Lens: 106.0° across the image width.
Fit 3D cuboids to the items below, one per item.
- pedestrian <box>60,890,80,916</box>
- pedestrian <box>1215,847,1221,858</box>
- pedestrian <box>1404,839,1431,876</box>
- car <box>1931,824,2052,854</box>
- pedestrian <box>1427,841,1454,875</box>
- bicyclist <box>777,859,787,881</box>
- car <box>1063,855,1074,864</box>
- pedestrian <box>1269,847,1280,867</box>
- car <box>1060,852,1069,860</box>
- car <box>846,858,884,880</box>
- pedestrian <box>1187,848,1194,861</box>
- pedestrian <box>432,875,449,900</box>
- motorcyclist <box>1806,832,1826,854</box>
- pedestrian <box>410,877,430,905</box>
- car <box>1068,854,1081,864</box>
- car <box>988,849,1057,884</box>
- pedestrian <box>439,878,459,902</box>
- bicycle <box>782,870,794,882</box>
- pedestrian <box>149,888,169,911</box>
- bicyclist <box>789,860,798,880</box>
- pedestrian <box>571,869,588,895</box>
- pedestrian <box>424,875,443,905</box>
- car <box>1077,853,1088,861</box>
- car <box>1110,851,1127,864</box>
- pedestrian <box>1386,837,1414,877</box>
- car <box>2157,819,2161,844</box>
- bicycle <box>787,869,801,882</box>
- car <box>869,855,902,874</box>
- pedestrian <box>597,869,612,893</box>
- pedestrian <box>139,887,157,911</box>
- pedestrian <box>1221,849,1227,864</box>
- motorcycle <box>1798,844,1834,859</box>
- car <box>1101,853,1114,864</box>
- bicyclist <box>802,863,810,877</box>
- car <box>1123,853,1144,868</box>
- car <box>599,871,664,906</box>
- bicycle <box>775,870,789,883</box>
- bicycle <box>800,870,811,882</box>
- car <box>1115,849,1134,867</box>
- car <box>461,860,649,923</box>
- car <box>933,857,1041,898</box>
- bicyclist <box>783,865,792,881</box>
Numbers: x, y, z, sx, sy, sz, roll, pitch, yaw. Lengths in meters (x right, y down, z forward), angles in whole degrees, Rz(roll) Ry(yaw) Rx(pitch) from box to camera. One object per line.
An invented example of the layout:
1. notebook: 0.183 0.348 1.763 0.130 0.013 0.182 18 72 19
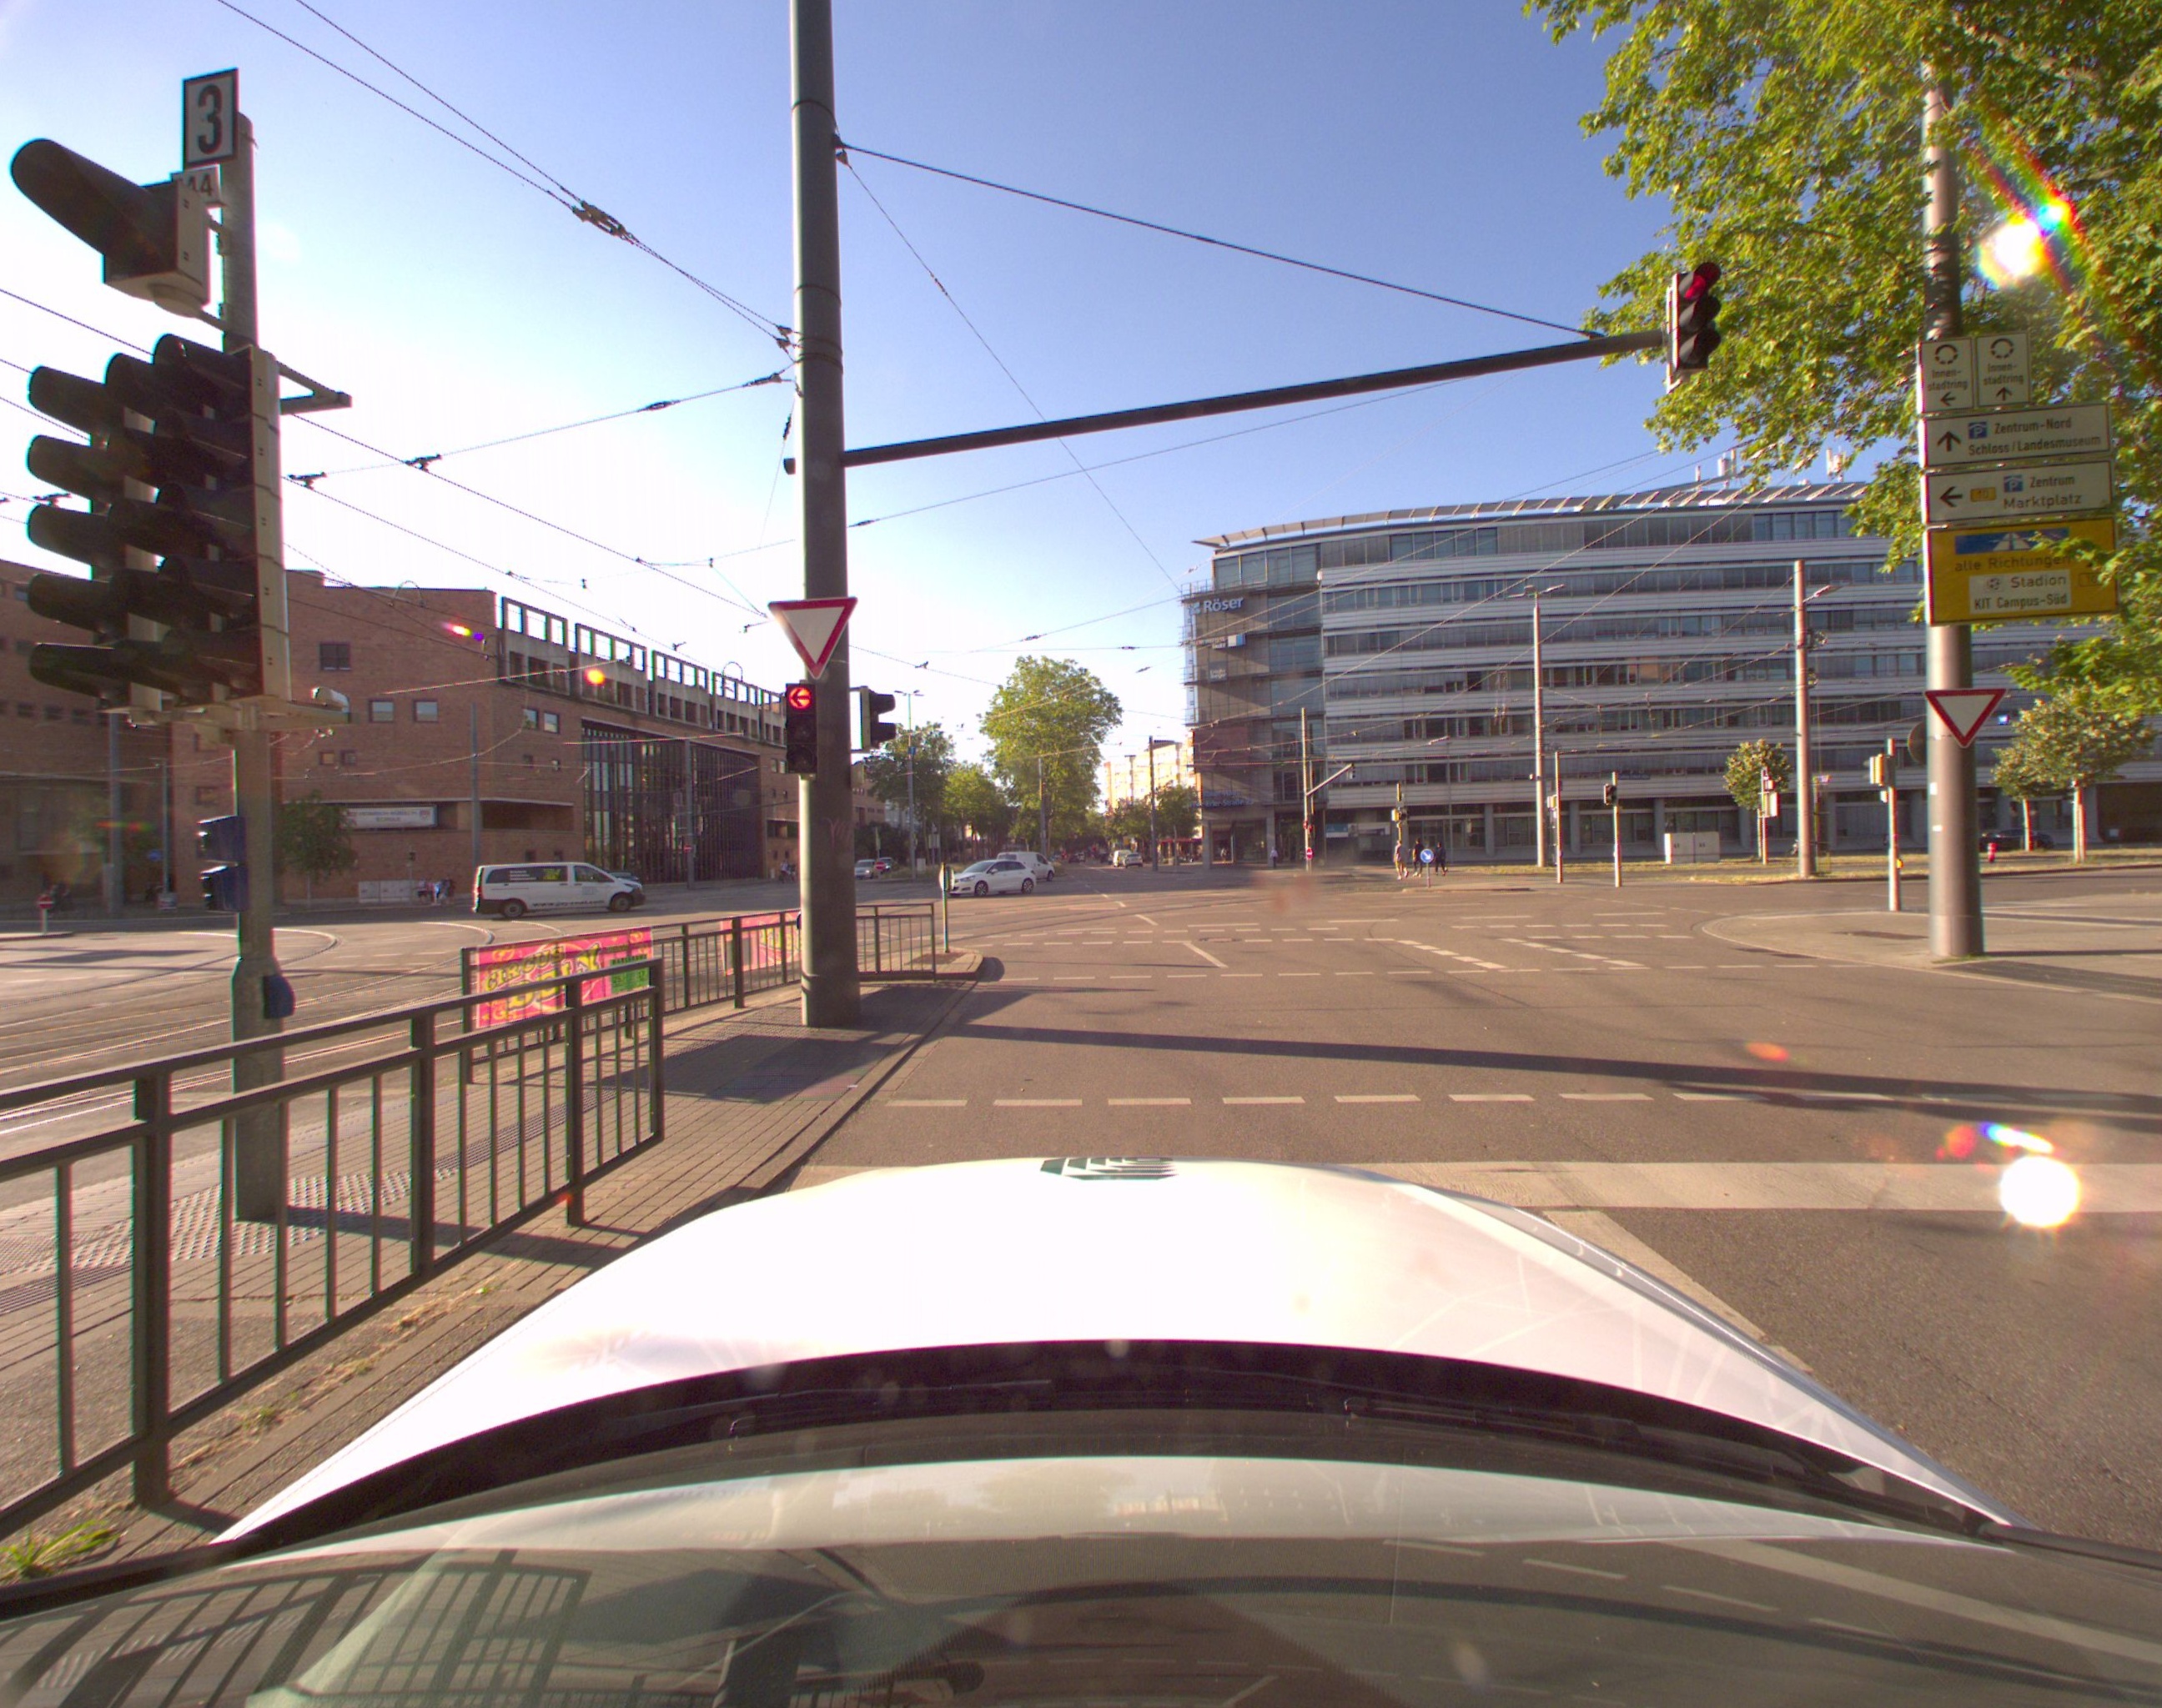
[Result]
1. pedestrian: -58.772 2.837 47.326 0.508 1.463 0.466 -2 0 -6
2. pedestrian: 21.608 -0.242 128.475 0.741 1.714 0.612 -2 0 1
3. pedestrian: 16.099 0.165 39.005 0.907 1.685 1.038 -2 0 9
4. car: 48.464 -0.803 43.430 4.136 1.398 1.789 -2 0 7
5. pedestrian: 17.165 0.191 38.911 0.943 1.564 0.899 -2 0 9
6. bicyclist: -24.340 1.306 66.303 0.534 1.731 0.581 -2 0 1
7. car: -2.227 0.995 147.343 1.792 1.442 3.999 0 -1 0
8. pedestrian: 14.395 0.233 60.527 0.610 1.507 0.579 -2 0 2
9. car: -4.225 0.489 204.484 1.986 2.013 4.001 -2 0 1
10. car: -18.004 1.223 67.956 1.987 1.640 4.001 -2 0 1
11. pedestrian: 14.092 0.087 104.776 0.741 1.714 0.612 -2 0 1
12. pedestrian: -38.035 1.973 48.362 0.568 1.453 0.612 -2 0 -13
13. motorcyclist: 42.720 -0.650 47.339 0.708 1.275 0.460 -2 0 5
14. pedestrian: -38.453 2.145 47.390 0.594 1.614 0.589 -2 0 1
15. car: -1.049 0.830 134.165 1.791 1.442 4.002 -2 0 2
16. car: -3.390 0.722 48.303 1.739 1.867 4.554 -2 0 30
17. pedestrian: -36.536 2.079 47.097 0.597 1.339 0.684 -2 0 17
18. bicycle: -25.012 1.858 69.435 0.466 0.963 1.320 -2 0 2
19. pedestrian: -57.763 2.846 51.004 0.557 1.427 0.555 -2 0 -5
20. bicyclist: -23.506 1.338 66.501 0.456 1.603 0.581 -2 0 1
21. pedestrian: -33.518 1.855 54.417 0.645 1.683 0.624 -2 0 10
22. pedestrian: -37.550 2.087 47.209 0.597 1.648 0.549 -2 0 1
23. car: 0.324 0.580 147.078 1.791 1.442 4.002 -2 0 2
24. car: 4.823 0.479 105.298 1.986 1.618 4.002 -2 0 2
25. pedestrian: 14.633 0.144 37.383 0.862 1.788 0.870 -2 0 -6
26. car: 62.350 -1.354 44.643 3.966 1.393 1.789 -4 0 7
27. bicycle: -23.464 1.762 66.545 0.471 0.963 1.576 -2 0 2
28. car: -18.114 0.966 75.531 1.987 1.640 4.001 -2 0 1
29. pedestrian: -32.499 1.828 55.543 0.605 1.625 0.622 -2 0 24
30. pedestrian: -58.499 2.826 51.068 0.535 1.463 0.585 -2 0 -29
31. pedestrian: 14.263 0.240 81.272 0.608 1.507 0.580 -2 0 9
32. motorcycle: 42.718 -0.155 47.334 1.560 0.810 0.468 -2 0 6
33. car: 4.096 0.658 126.780 1.986 1.618 4.002 -2 0 2
34. bicyclist: -24.381 1.441 72.241 0.503 1.179 0.581 -2 0 1
35. car: 5.292 0.622 82.825 1.986 1.376 4.002 -2 0 2
36. car: -20.963 1.573 38.131 1.630 1.426 4.083 -2 0 -14
37. bicycle: -24.341 1.812 66.316 0.540 0.963 1.587 -2 0 2
38. bicycle: -24.374 1.928 72.176 0.449 0.963 1.348 -2 0 2
39. car: 4.746 0.451 89.642 1.986 1.860 4.002 -2 0 2
40. car: -18.361 1.251 28.568 5.356 1.848 1.945 -2 0 -38
41. car: -3.836 0.944 33.919 1.739 1.488 4.335 -2 0 43
42. bicyclist: -24.993 1.599 69.412 0.503 1.304 0.581 -2 0 1
